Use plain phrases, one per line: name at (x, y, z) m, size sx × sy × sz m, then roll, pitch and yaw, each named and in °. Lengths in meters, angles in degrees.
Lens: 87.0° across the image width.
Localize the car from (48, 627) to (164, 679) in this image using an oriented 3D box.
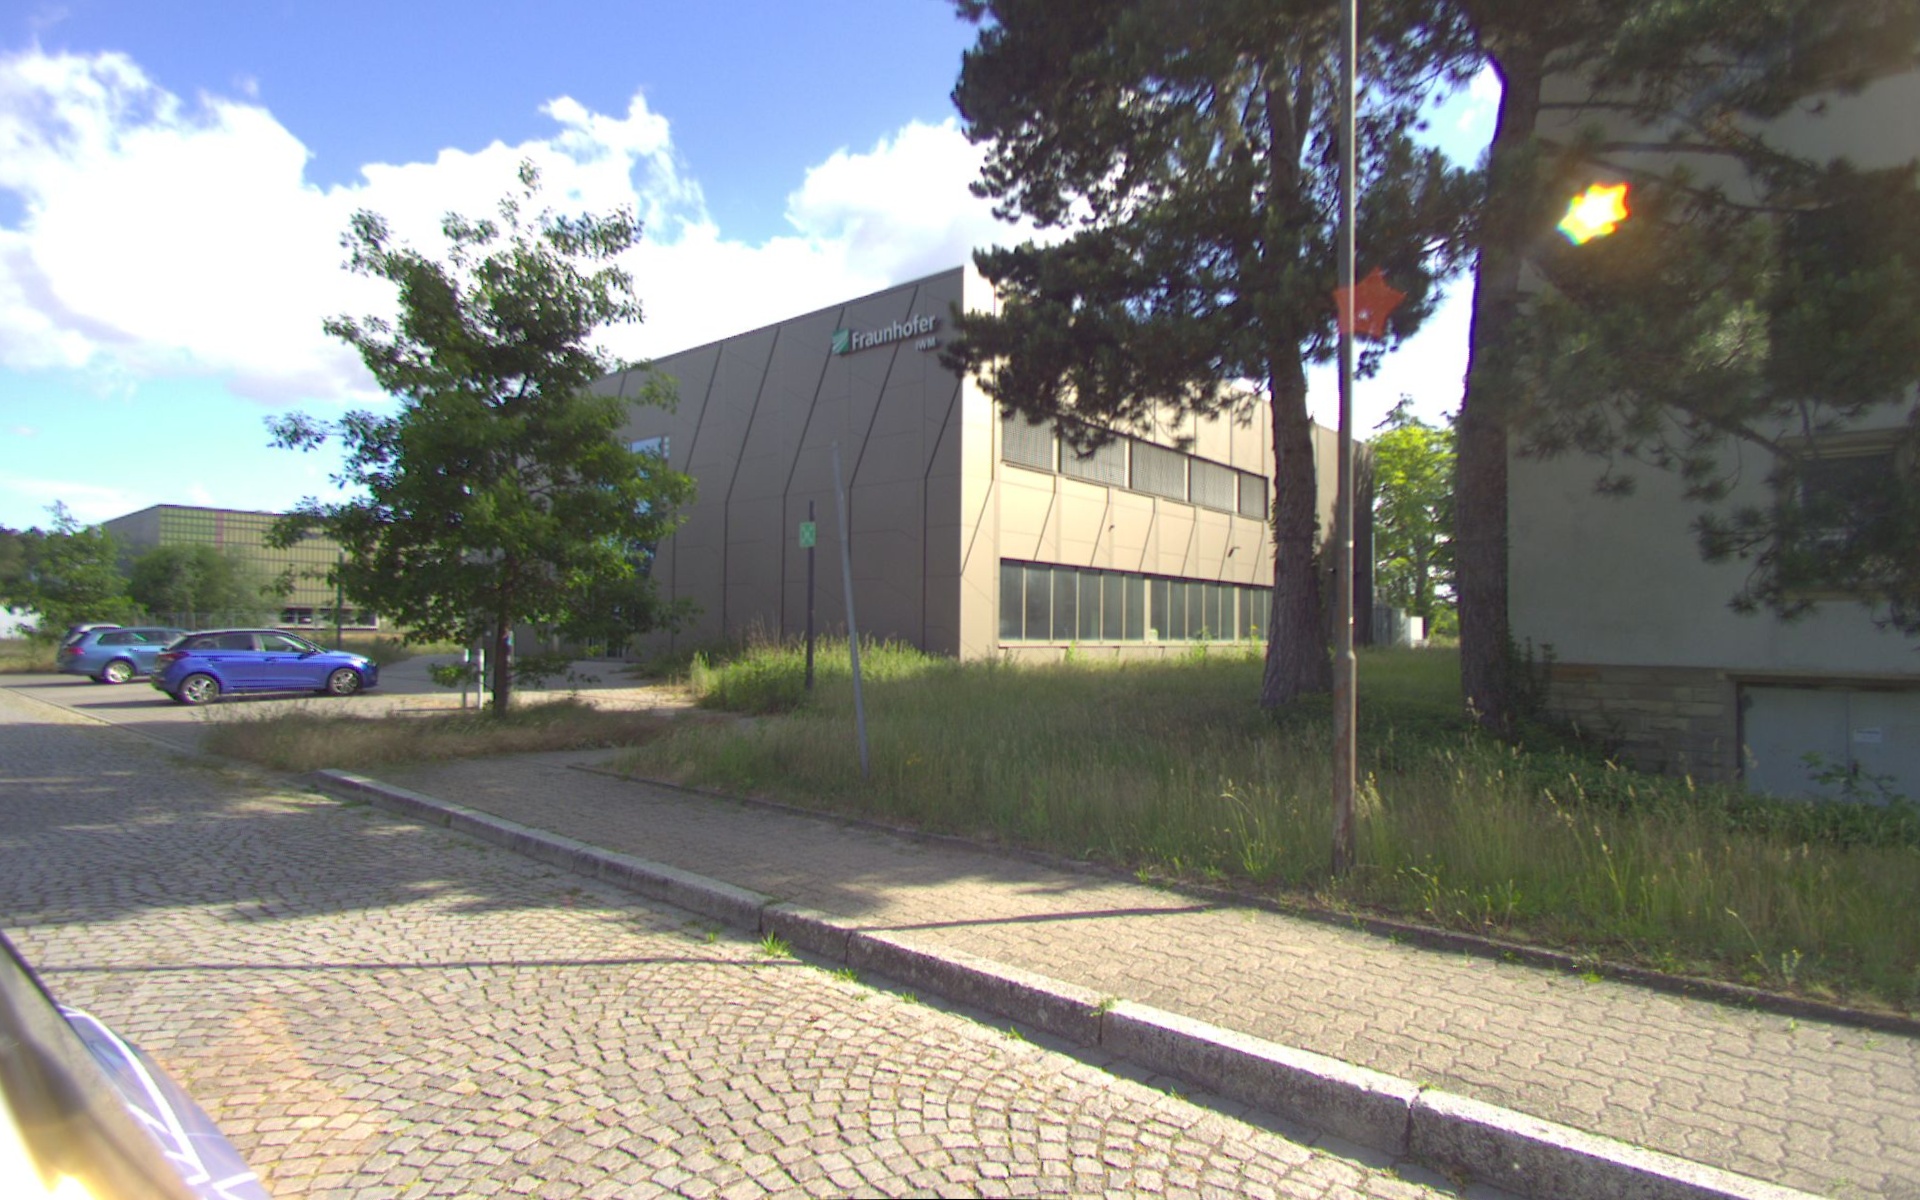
car at (-27.409, 1.659, 32.532) m, size 1.480 × 1.580 × 2.619 m, roll -1°, pitch -2°, yaw 39°

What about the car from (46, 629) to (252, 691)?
car at (-21.997, 1.569, 27.586) m, size 1.732 × 1.485 × 4.128 m, roll -1°, pitch -1°, yaw 38°

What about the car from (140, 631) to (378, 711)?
car at (-14.748, 1.415, 21.435) m, size 1.735 × 1.479 × 3.866 m, roll -1°, pitch -2°, yaw 43°
